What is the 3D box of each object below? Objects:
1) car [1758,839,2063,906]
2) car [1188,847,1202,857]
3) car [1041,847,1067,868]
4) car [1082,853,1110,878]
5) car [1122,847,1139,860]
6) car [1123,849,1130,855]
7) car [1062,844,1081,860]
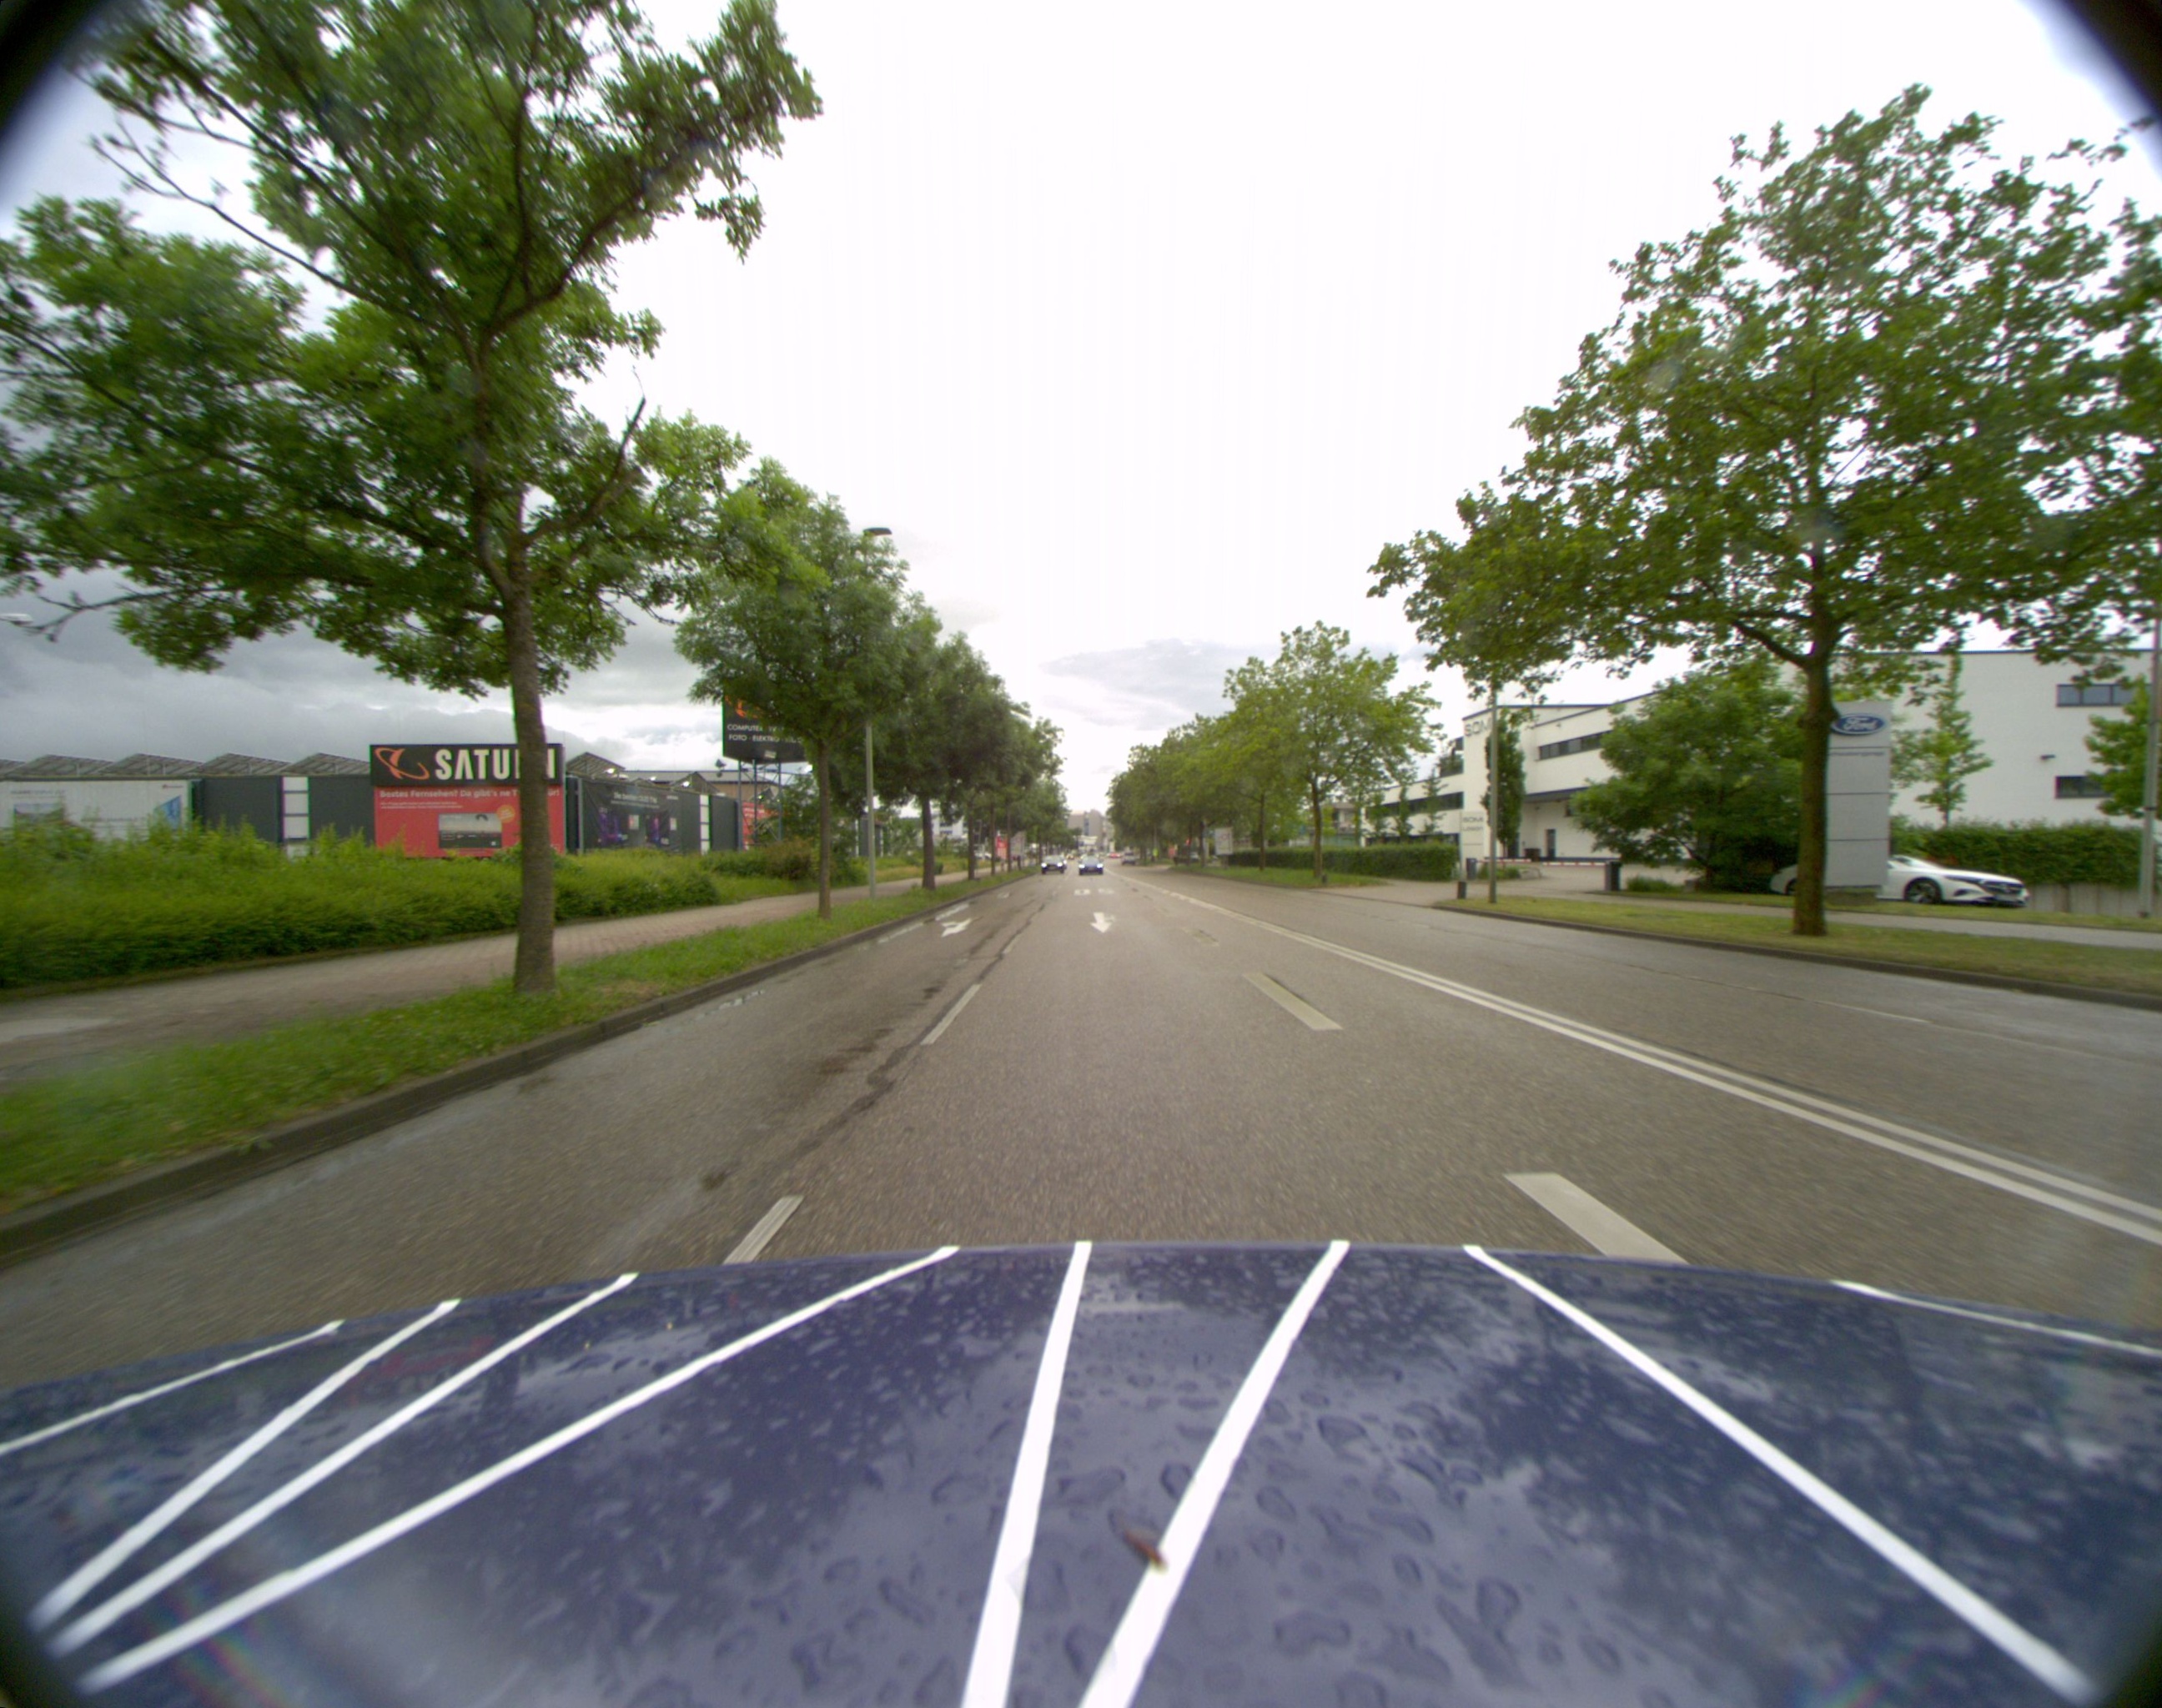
[{"bbox_3d":[20.956,0.389,19.667,2.123,1.487,5.246,-1,0,-1],"label":"car"},{"bbox_3d":[18.135,-0.369,121.113,1.746,1.525,4.000,1,1,1],"label":"car"},{"bbox_3d":[-2.364,0.253,66.824,1.998,1.632,4.359,-2,1,1],"label":"car"},{"bbox_3d":[1.095,0.851,57.921,1.998,1.632,4.359,-2,1,1],"label":"car"},{"bbox_3d":[7.290,-0.088,112.238,1.916,1.795,5.340,0,0,-1],"label":"car"},{"bbox_3d":[10.986,-0.521,183.630,1.746,1.525,4.000,1,1,2],"label":"car"},{"bbox_3d":[-1.025,-0.235,83.653,1.998,1.632,4.359,-2,1,1],"label":"car"}]
